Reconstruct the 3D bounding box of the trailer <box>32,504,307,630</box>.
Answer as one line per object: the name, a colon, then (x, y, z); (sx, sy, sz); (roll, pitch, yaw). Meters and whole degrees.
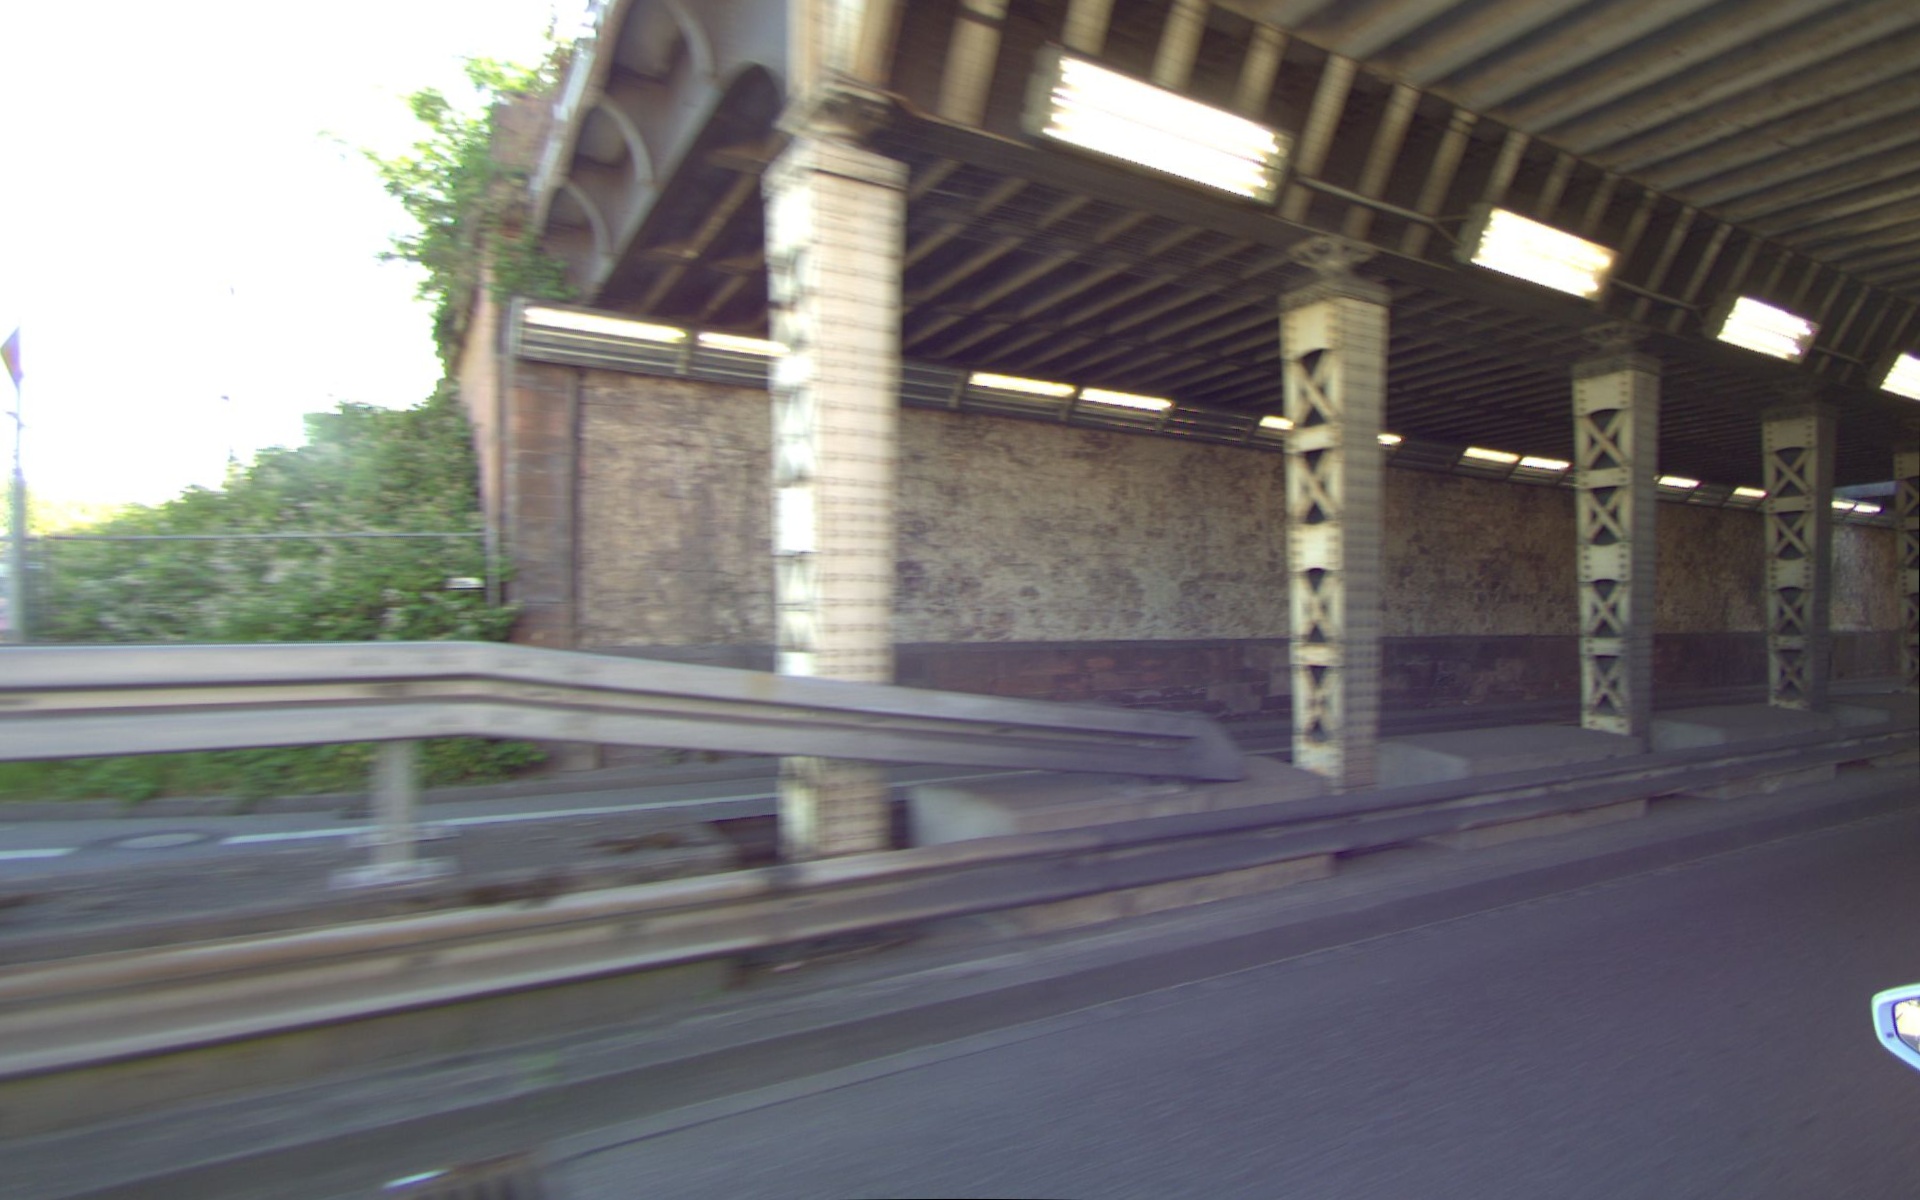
trailer: (-23.494, -0.836, 30.440); (2.946, 3.335, 6.668); (2, -1, 0)
